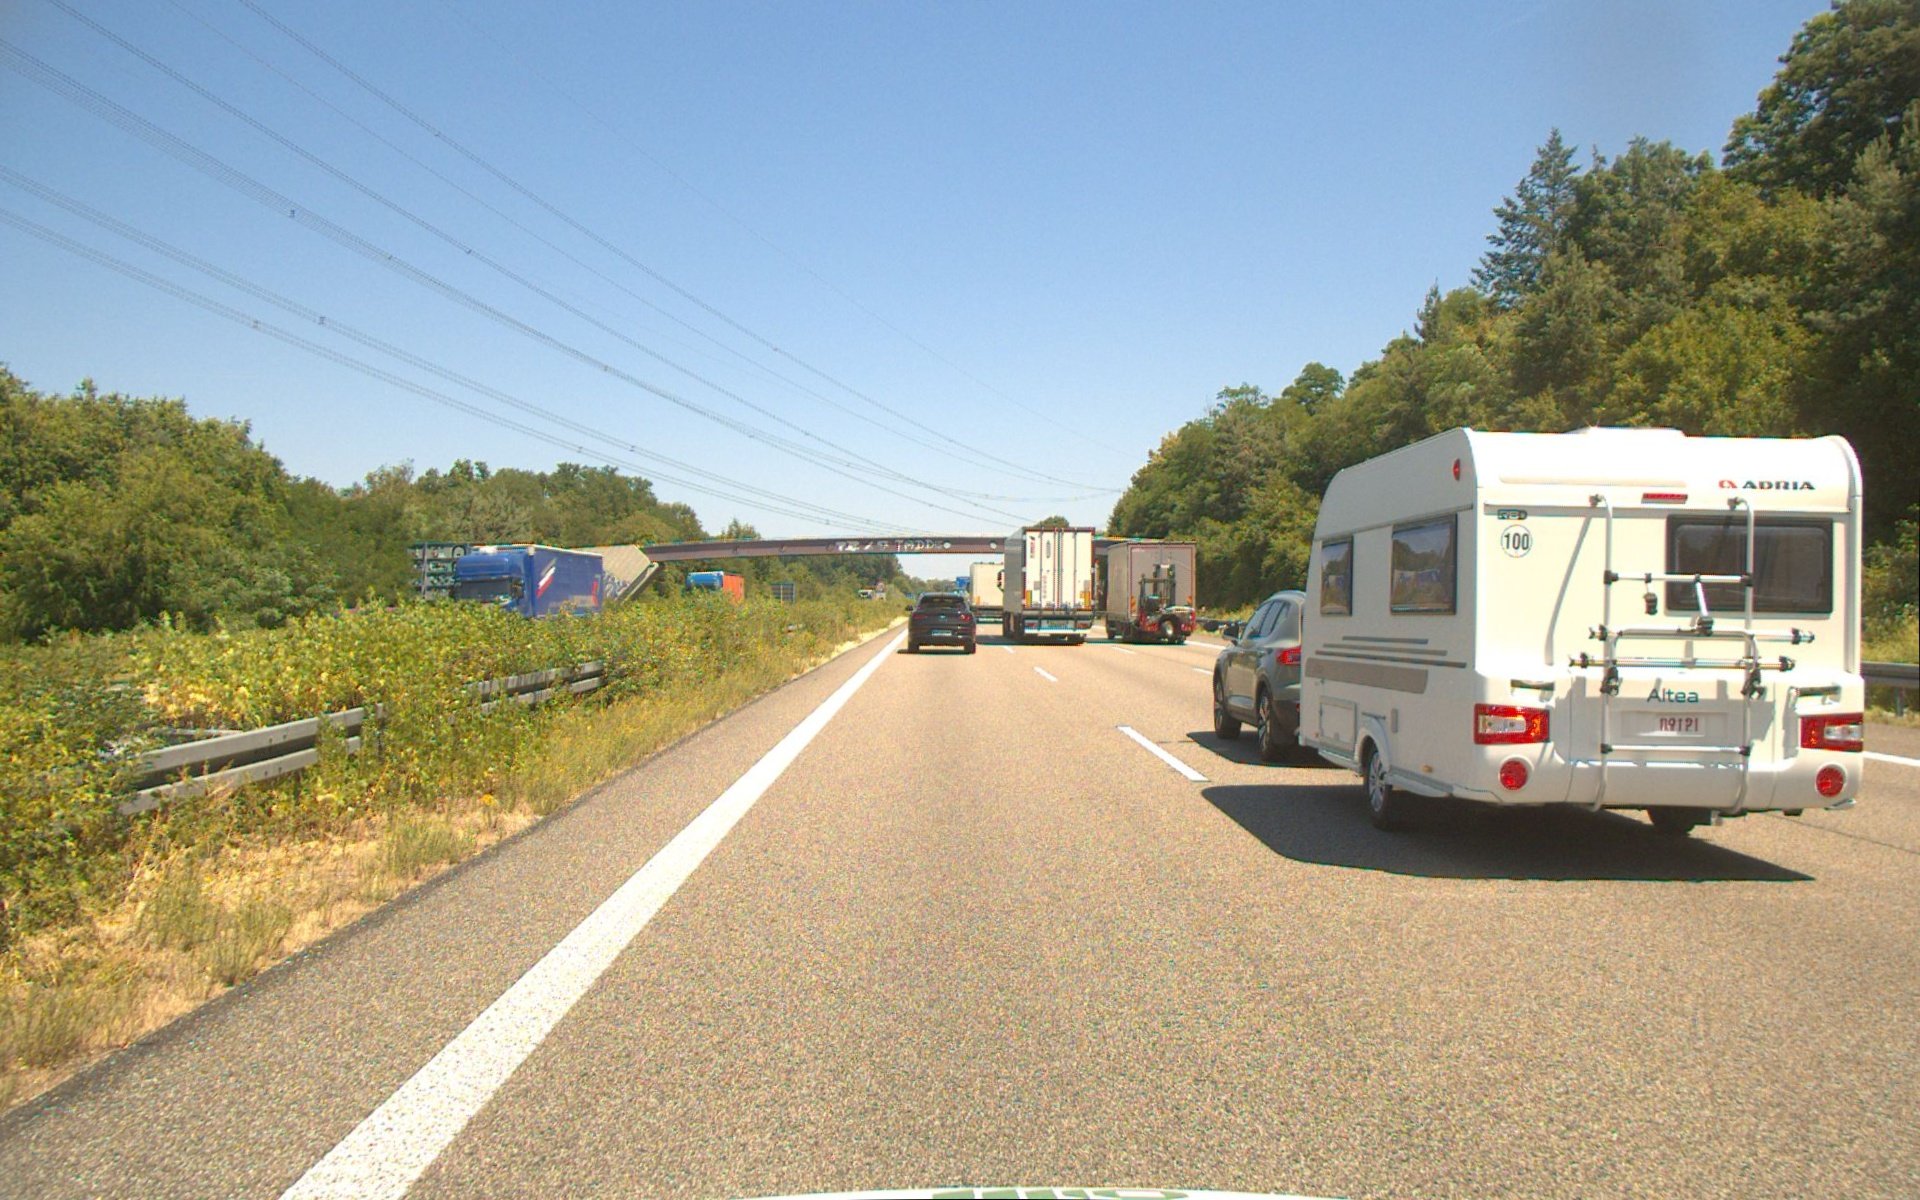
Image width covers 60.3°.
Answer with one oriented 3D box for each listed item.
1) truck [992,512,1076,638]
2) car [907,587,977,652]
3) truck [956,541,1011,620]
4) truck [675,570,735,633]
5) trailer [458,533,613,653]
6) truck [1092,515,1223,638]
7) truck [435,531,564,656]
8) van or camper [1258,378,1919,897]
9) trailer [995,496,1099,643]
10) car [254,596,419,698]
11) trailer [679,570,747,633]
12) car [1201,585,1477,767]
[{"bbox_3d":[3.030,-0.989,69.428,3.024,4.970,6.596,1,0,-1],"label":"truck"},{"bbox_3d":[-0.571,0.524,48.207,1.953,1.803,3.998,0,0,-2],"label":"car"},{"bbox_3d":[1.556,-1.312,115.660,3.440,5.257,10.256,1,0,-1],"label":"truck"},{"bbox_3d":[-19.000,0.109,123.747,3.276,4.484,7.970,-1,0,-1],"label":"truck"},{"bbox_3d":[-17.989,-0.285,71.427,3.025,4.484,14.229,-3,0,-1],"label":"trailer"},{"bbox_3d":[7.522,-0.801,64.922,3.498,4.319,11.649,1,0,-1],"label":"truck"},{"bbox_3d":[-17.897,-0.258,64.801,3.025,4.484,6.800,-3,0,-1],"label":"truck"},{"bbox_3d":[3.970,0.176,11.902,2.389,2.721,6.348,0,0,-1],"label":"van or camper"},{"bbox_3d":[3.122,-1.018,62.832,3.024,4.970,12.255,1,0,-1],"label":"trailer"},{"bbox_3d":[-13.394,0.964,35.830,1.953,2.049,4.293,1,0,-1],"label":"car"},{"bbox_3d":[-19.069,0.102,128.719,3.276,4.484,14.162,-1,0,-1],"label":"trailer"},{"bbox_3d":[3.810,0.691,17.473,1.841,1.640,4.702,1,0,0],"label":"car"}]
